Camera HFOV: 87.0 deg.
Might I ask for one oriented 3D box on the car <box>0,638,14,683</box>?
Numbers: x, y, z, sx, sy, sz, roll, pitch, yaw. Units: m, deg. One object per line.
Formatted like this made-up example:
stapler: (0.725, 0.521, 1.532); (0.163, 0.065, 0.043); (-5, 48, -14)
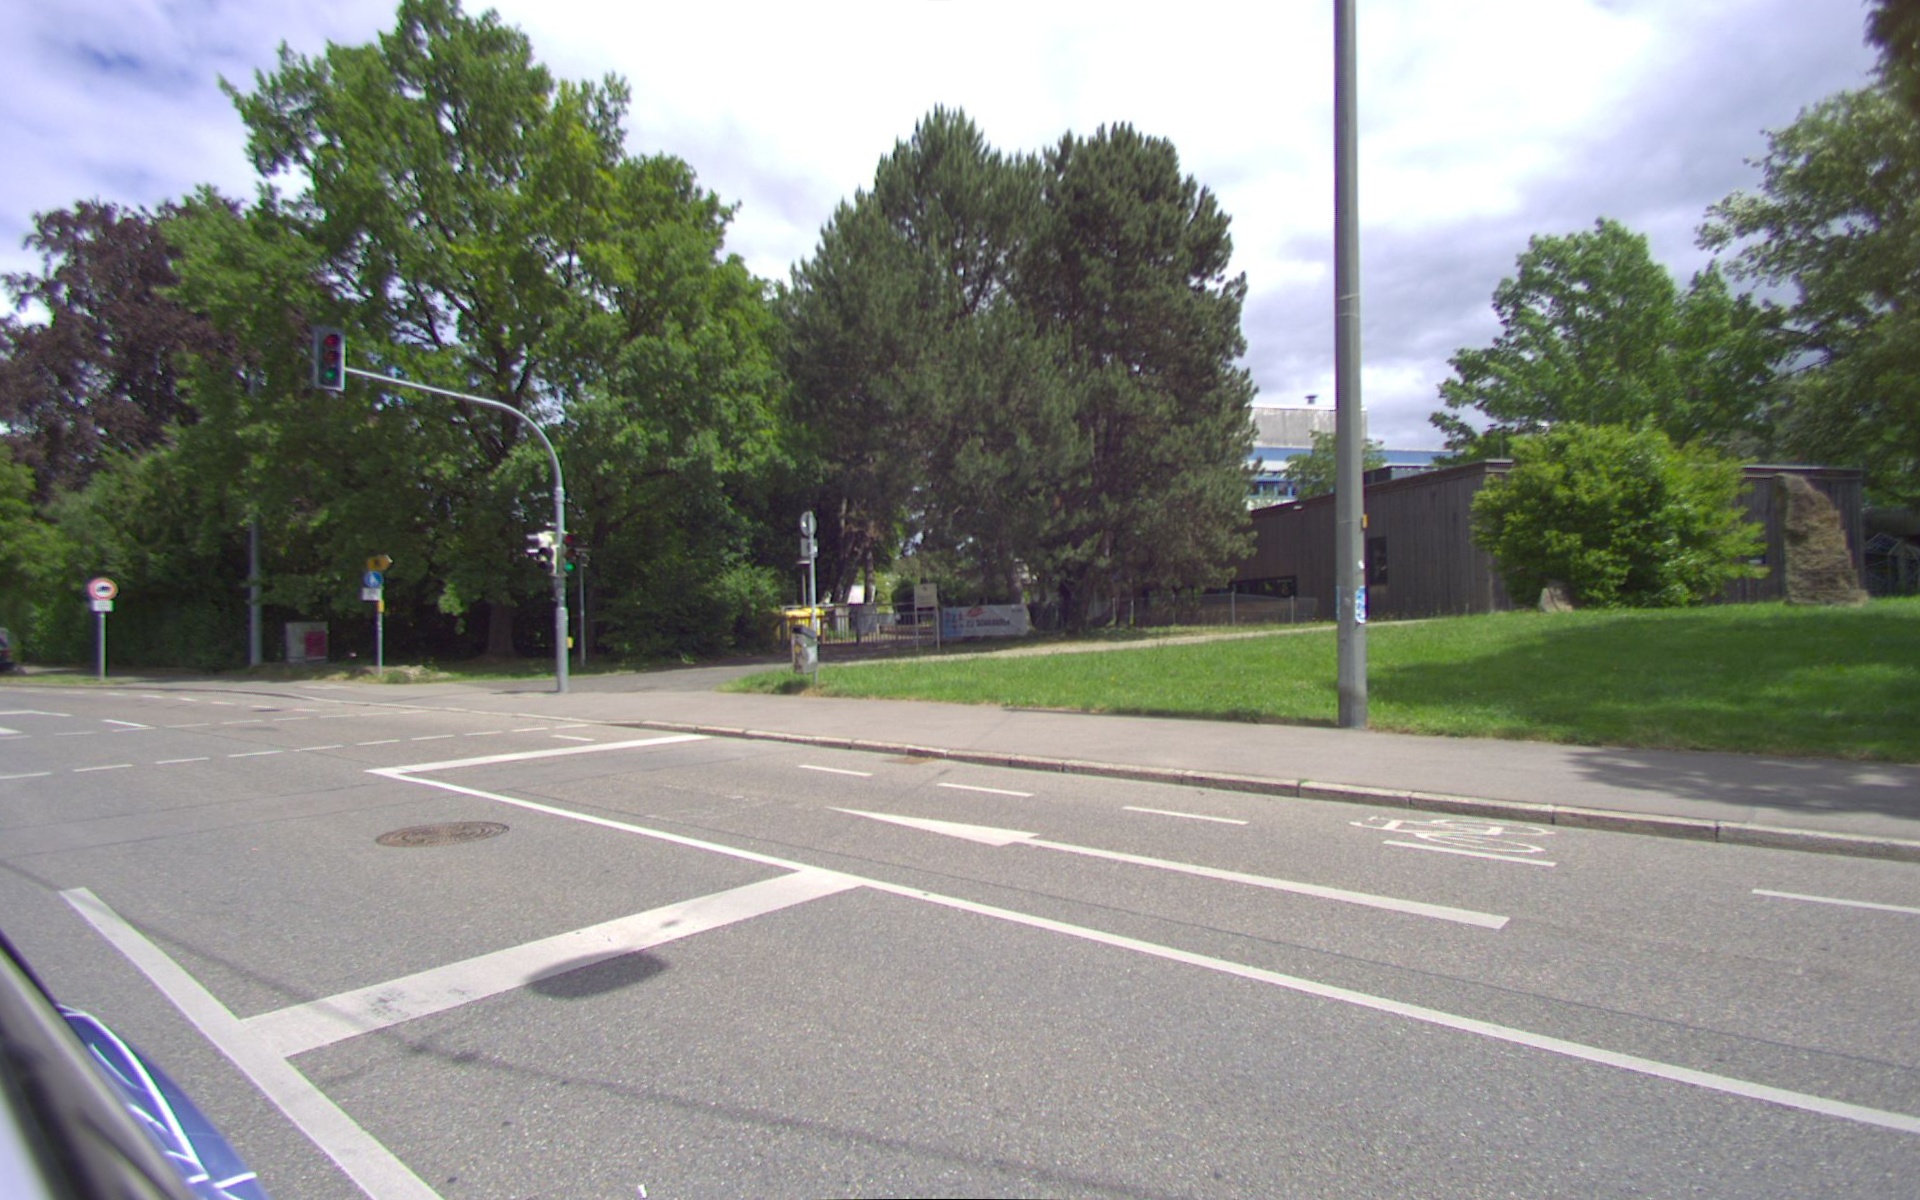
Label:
car: (-33.592, 2.018, 33.912); (4.387, 1.426, 1.670); (-1, 0, 32)
